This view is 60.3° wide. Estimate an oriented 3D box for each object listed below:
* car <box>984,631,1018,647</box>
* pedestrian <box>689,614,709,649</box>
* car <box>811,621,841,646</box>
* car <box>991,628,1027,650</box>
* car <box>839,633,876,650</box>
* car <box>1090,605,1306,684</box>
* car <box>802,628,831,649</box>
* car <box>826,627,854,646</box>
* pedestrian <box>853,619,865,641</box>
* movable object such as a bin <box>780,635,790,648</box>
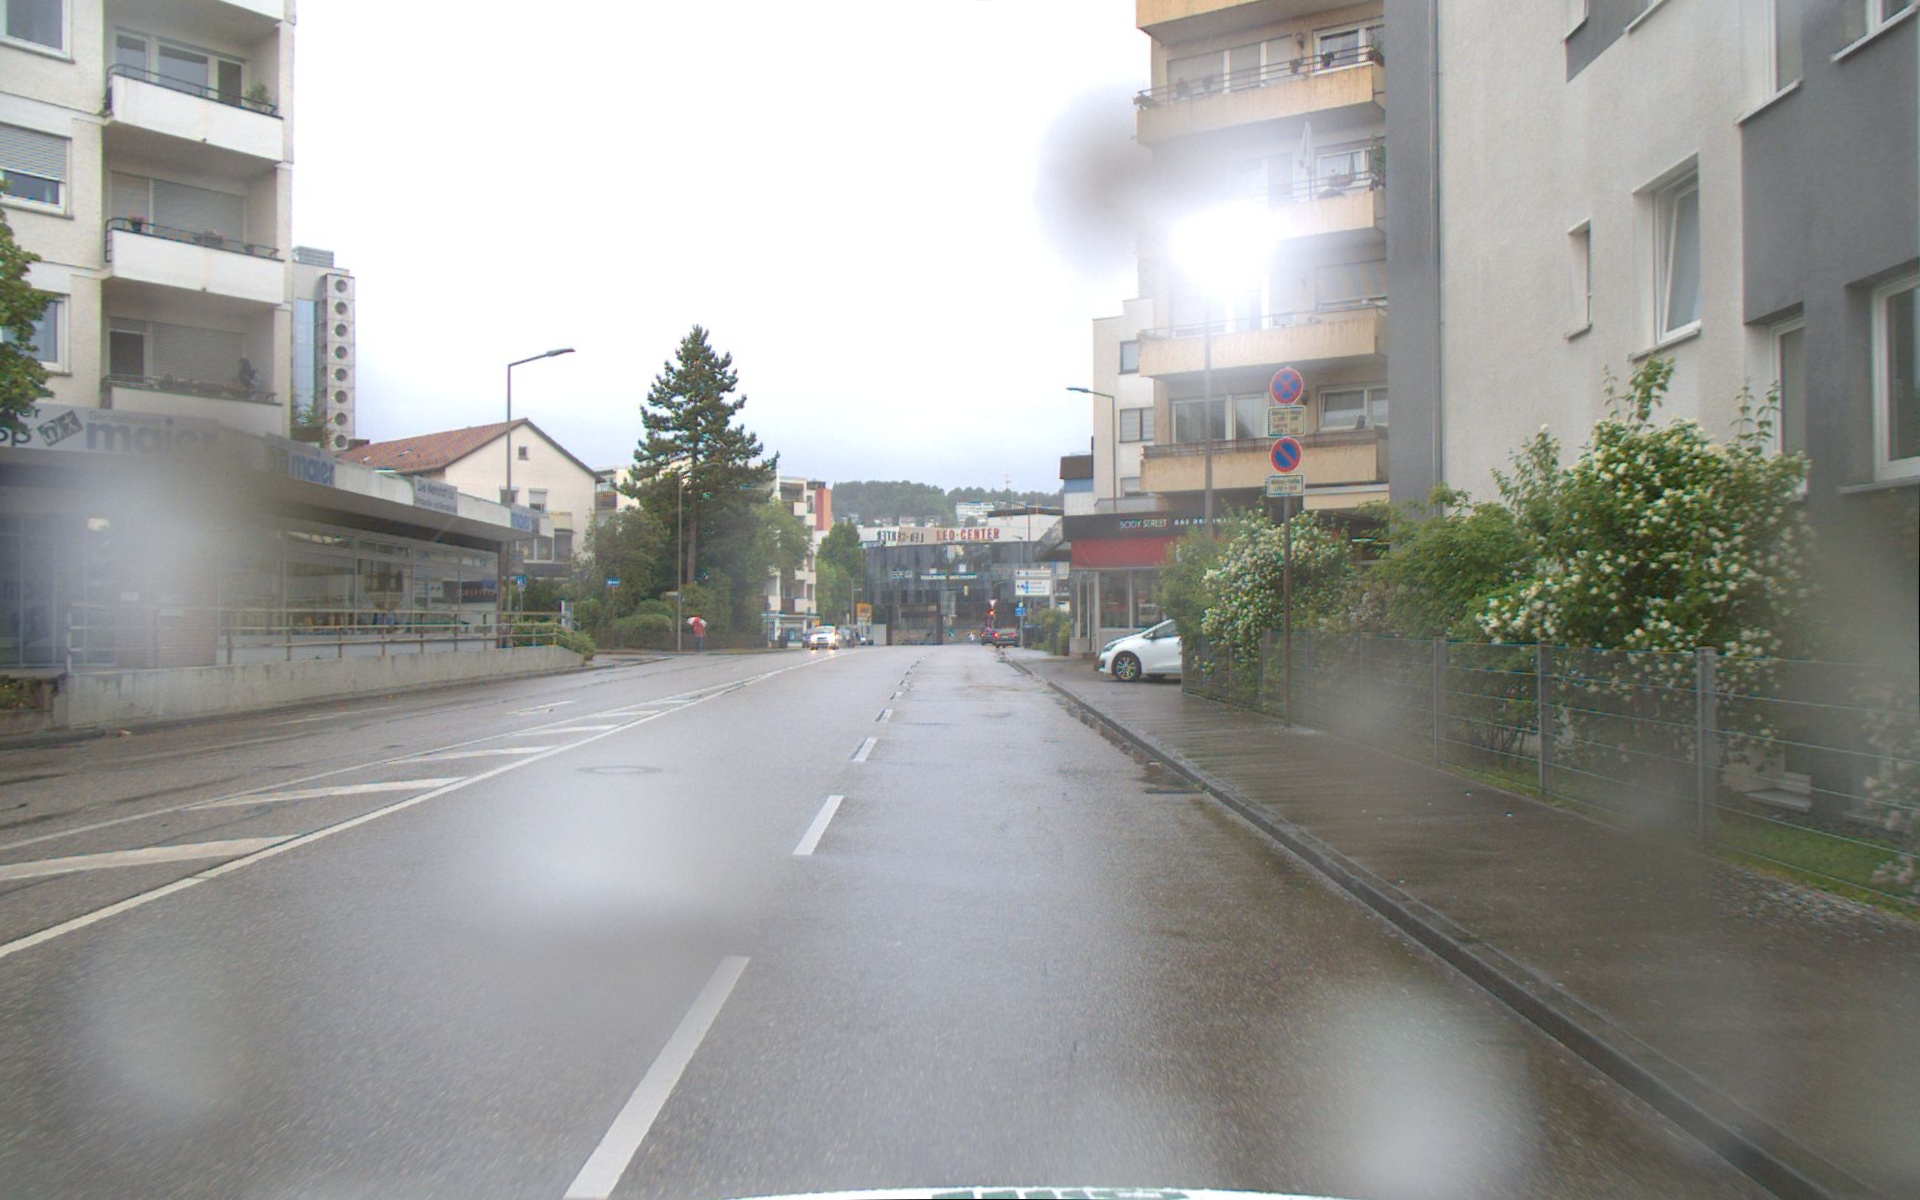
[{"bbox_3d":[3.730,3.519,149.090,1.767,1.444,3.999,-1,-1,22],"label":"car"},{"bbox_3d":[-12.345,1.510,78.218,0.852,1.635,1.101,0,-2,-7],"label":"pedestrian"},{"bbox_3d":[-8.455,2.094,104.593,1.663,1.433,3.998,-3,0,-2],"label":"car"},{"bbox_3d":[3.866,3.073,129.675,1.951,1.561,4.650,0,-3,12],"label":"car"},{"bbox_3d":[-11.039,4.427,177.906,1.976,1.538,4.380,4,0,-34],"label":"car"},{"bbox_3d":[5.056,0.897,35.242,4.176,1.520,1.870,1,1,28],"label":"car"},{"bbox_3d":[-10.860,2.905,125.651,1.617,1.548,4.325,0,-1,3],"label":"car"},{"bbox_3d":[-10.307,3.114,142.235,1.894,1.569,4.274,0,-1,3],"label":"car"},{"bbox_3d":[-9.752,2.927,160.047,0.733,2.049,0.921,3,-2,23],"label":"pedestrian"},{"bbox_3d":[-12.864,3.055,121.471,0.634,0.983,0.683,-1,-2,2],"label":"movable object such as a bin"}]
